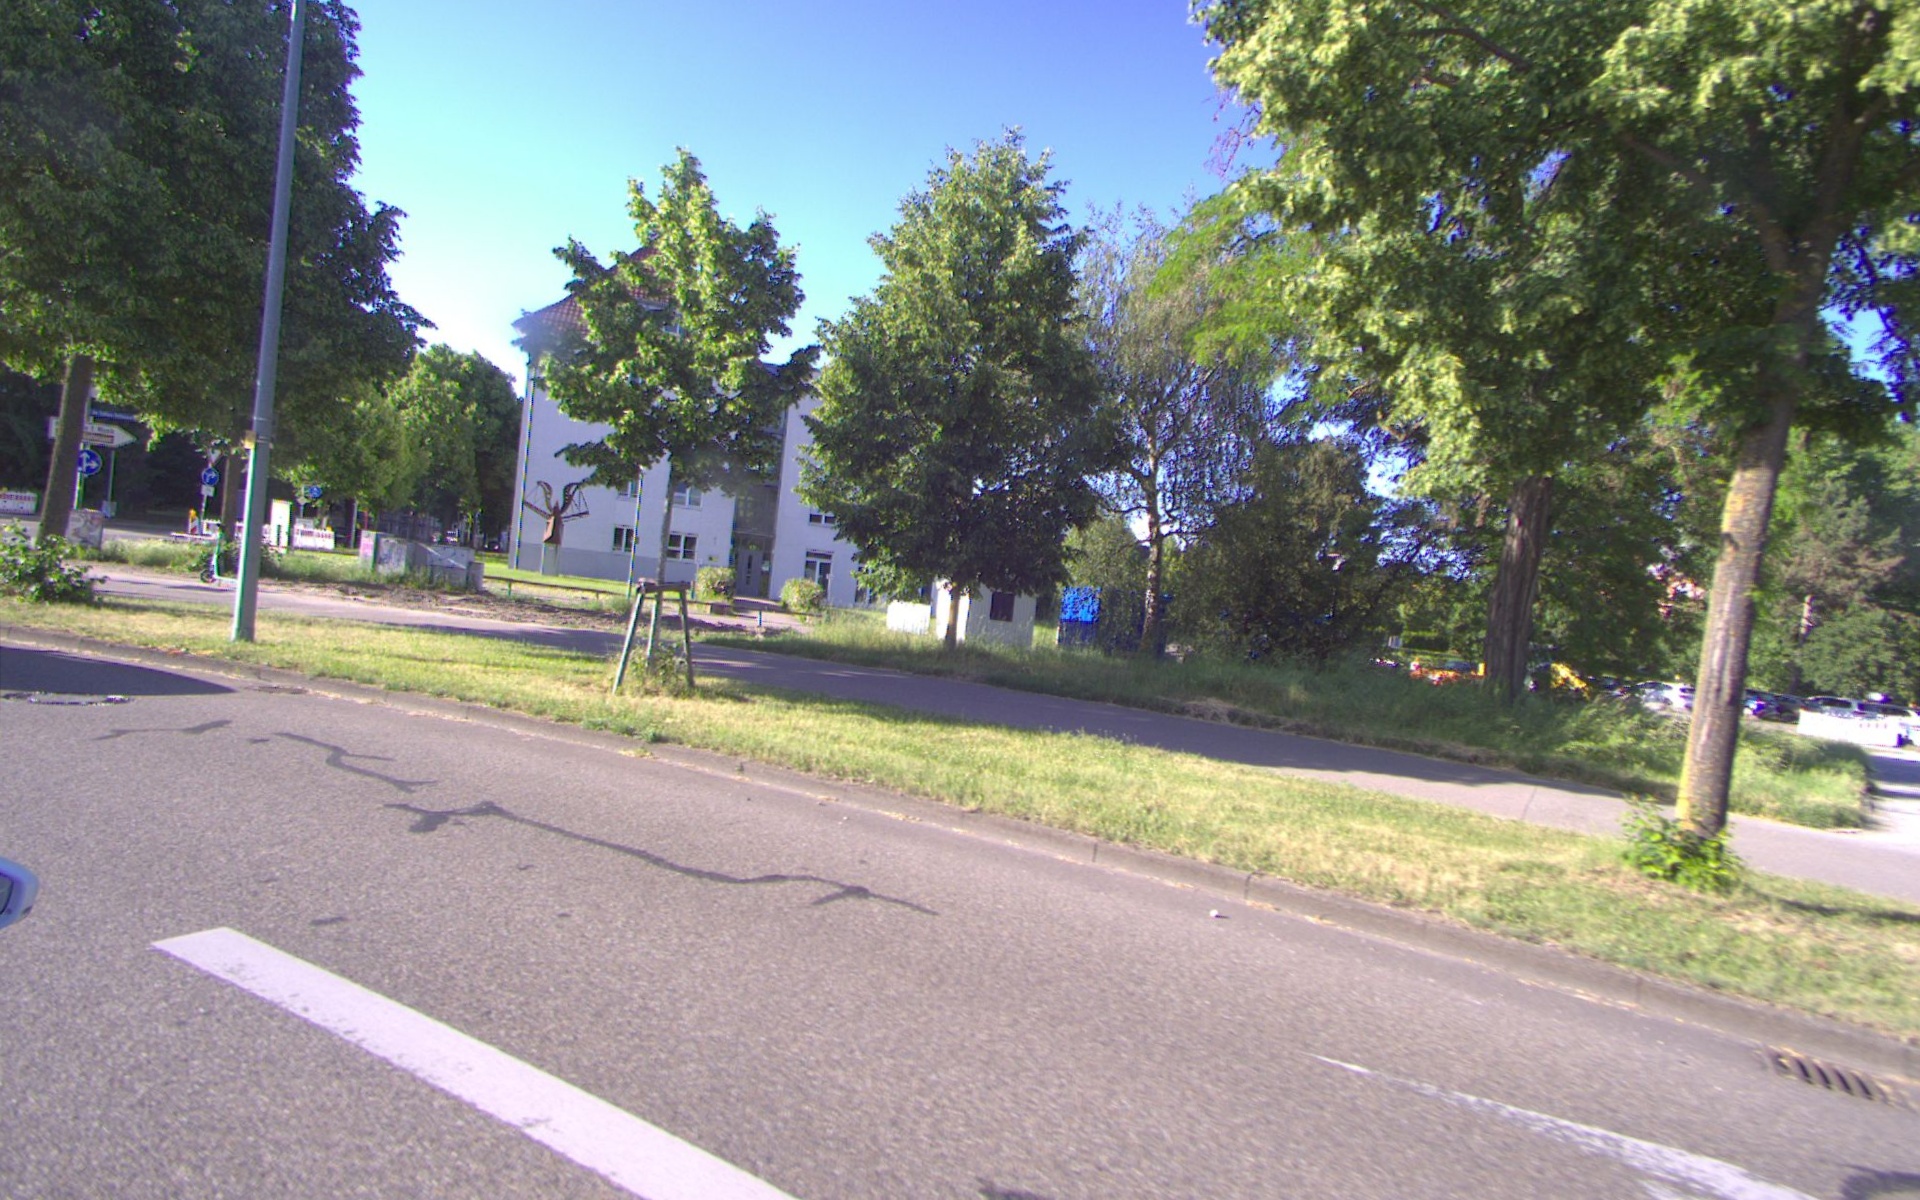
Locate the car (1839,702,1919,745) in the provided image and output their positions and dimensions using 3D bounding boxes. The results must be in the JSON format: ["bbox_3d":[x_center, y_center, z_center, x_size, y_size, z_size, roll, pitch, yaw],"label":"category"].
[{"bbox_3d":[54.466,7.252,58.902,1.970,1.982,3.988,7,-2,-17],"label":"car"}]

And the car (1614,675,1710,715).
[{"bbox_3d":[37.256,5.026,53.490,1.805,1.574,3.797,7,-2,-15],"label":"car"}]

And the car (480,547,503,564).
[{"bbox_3d":[-65.897,-6.268,141.470,1.968,1.893,3.991,7,-2,-13],"label":"car"}]

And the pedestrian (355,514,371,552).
[{"bbox_3d":[-33.476,-3.740,56.370,0.463,2.039,0.454,6,1,-7],"label":"pedestrian"}]

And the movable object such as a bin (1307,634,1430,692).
[{"bbox_3d":[18.381,2.836,45.292,4.959,1.971,2.227,8,-2,-25],"label":"movable object such as a bin"}]

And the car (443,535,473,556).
[{"bbox_3d":[-57.300,-6.181,114.848,1.968,1.893,3.991,7,-2,-13],"label":"car"}]

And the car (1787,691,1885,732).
[{"bbox_3d":[49.753,6.313,57.253,1.667,1.800,3.839,7,-2,-13],"label":"car"}]

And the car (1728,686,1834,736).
[{"bbox_3d":[45.427,6.106,55.758,1.970,2.124,3.988,7,-2,-17],"label":"car"}]

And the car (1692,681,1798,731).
[{"bbox_3d":[42.700,5.737,54.844,1.970,2.124,3.988,7,-2,-17],"label":"car"}]

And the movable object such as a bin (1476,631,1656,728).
[{"bbox_3d":[21.499,2.746,35.932,1.977,2.821,5.015,7,-2,-27],"label":"movable object such as a bin"}]

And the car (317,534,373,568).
[{"bbox_3d":[-42.941,-3.410,70.343,1.968,1.893,3.991,7,-2,-13],"label":"car"}]

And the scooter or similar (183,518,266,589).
[{"bbox_3d":[-14.512,-0.915,19.857,1.240,1.263,0.445,6,-1,6],"label":"scooter or similar"}]
